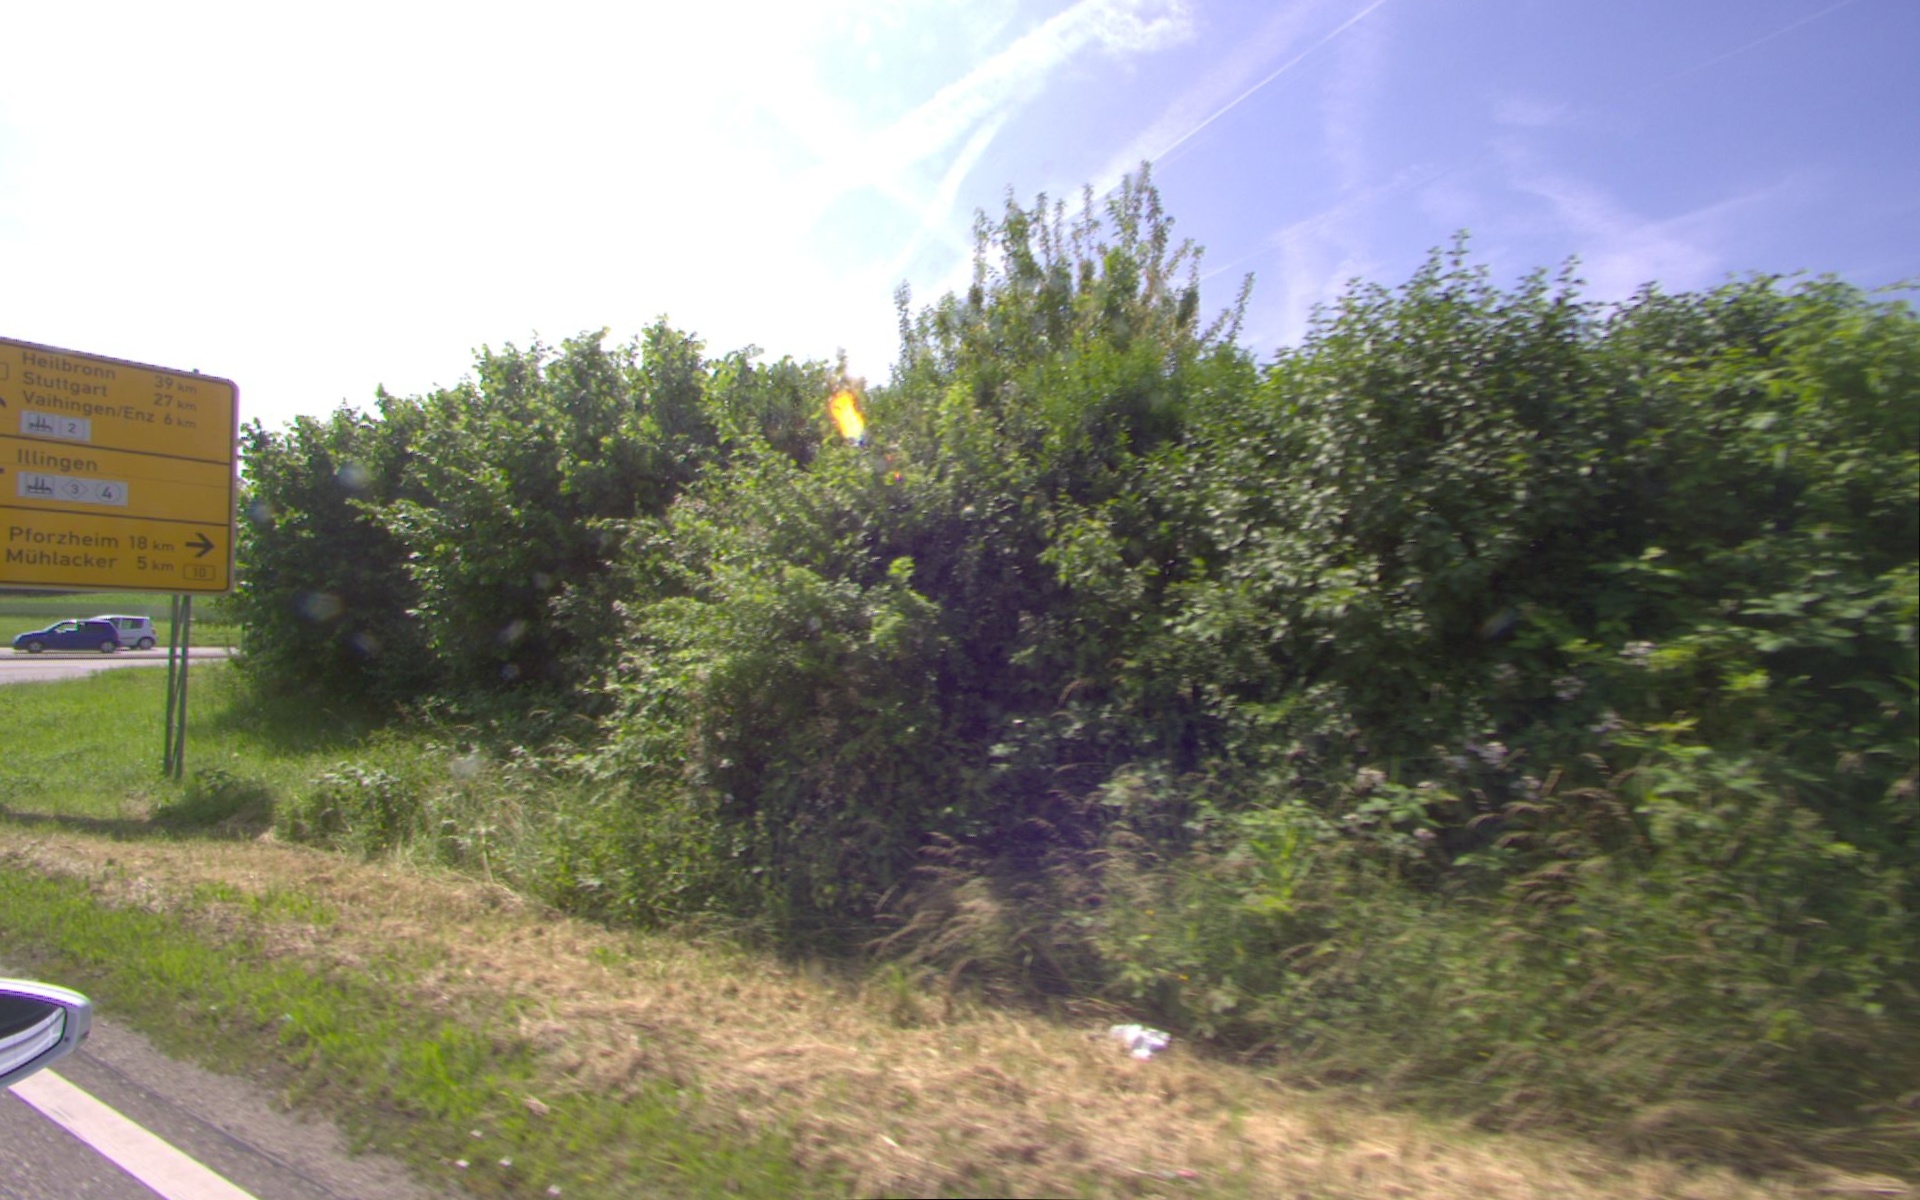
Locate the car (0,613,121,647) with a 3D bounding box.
[{"bbox_3d":[-38.633,1.300,43.038,3.824,1.374,1.660,2,-2,-44],"label":"car"}]

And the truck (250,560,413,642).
[{"bbox_3d":[-33.480,0.160,53.522,6.885,4.046,2.999,2,-1,-43],"label":"truck"}]

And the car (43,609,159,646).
[{"bbox_3d":[-39.860,1.289,46.539,1.738,1.654,3.816,-1,-2,36],"label":"car"}]
